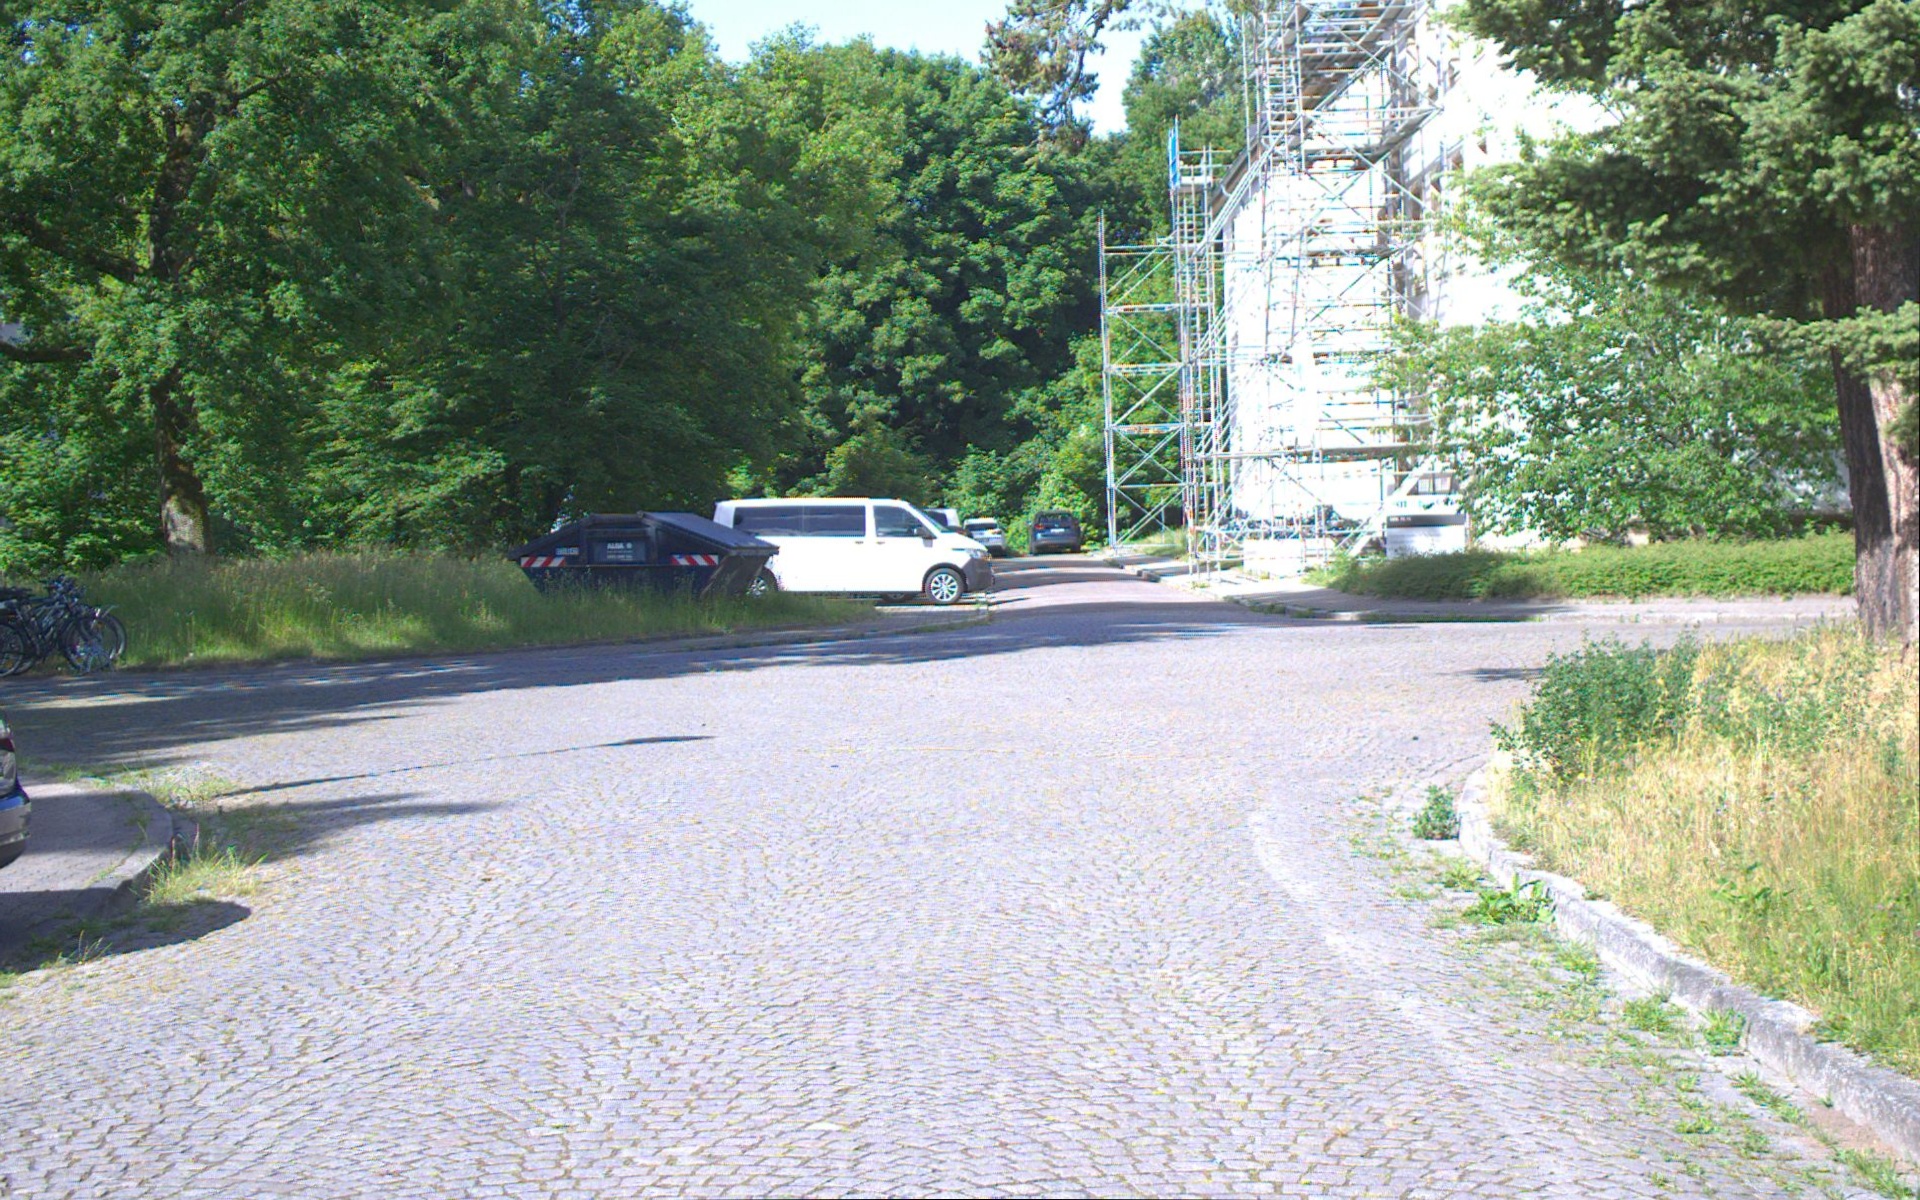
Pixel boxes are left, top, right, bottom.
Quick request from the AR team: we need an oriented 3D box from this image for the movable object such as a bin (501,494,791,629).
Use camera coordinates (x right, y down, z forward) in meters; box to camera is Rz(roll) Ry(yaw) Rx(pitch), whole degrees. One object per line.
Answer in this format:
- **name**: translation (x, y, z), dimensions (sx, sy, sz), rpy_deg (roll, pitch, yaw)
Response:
- **movable object such as a bin**: translation (-4.498, -0.563, 49.460), dimensions (3.569, 1.738, 2.023), rpy_deg (-2, 1, 19)

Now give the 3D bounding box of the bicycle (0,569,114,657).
- **bicycle**: translation (-12.352, 0.188, 45.947), dimensions (1.913, 1.054, 0.476), rpy_deg (-5, 2, -20)

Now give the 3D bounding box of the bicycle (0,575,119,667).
- **bicycle**: translation (-11.756, 0.279, 43.776), dimensions (1.913, 1.054, 0.476), rpy_deg (-5, 2, -22)

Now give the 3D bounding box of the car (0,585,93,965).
- **car**: translation (-5.920, 0.748, 13.709), dimensions (4.360, 1.440, 1.921), rpy_deg (-1, 2, 3)

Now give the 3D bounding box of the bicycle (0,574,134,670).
- **bicycle**: translation (-11.324, 0.274, 42.779), dimensions (1.913, 1.054, 0.476), rpy_deg (-5, 2, -28)

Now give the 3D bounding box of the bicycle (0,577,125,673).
- **bicycle**: translation (-11.310, 0.319, 42.224), dimensions (1.913, 1.054, 0.476), rpy_deg (-5, 2, -28)

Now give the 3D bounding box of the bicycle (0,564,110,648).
- **bicycle**: translation (-12.961, 0.098, 48.185), dimensions (1.913, 1.054, 0.476), rpy_deg (-5, 2, -20)

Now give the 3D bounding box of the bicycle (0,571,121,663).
- **bicycle**: translation (-11.866, 0.227, 44.340), dimensions (1.913, 1.054, 0.476), rpy_deg (-5, 2, -22)

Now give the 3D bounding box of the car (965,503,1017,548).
- **car**: translation (1.151, -2.782, 128.481), dimensions (1.812, 1.574, 4.135), rpy_deg (-3, 1, 0)

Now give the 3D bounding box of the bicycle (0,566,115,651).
- **bicycle**: translation (-12.779, 0.124, 47.717), dimensions (1.913, 1.054, 0.476), rpy_deg (-5, 2, -20)

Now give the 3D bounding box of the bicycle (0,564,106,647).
- **bicycle**: translation (-13.121, 0.092, 48.625), dimensions (1.913, 1.054, 0.476), rpy_deg (-5, 2, -20)

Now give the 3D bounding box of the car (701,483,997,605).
- **car**: translation (-1.985, -1.025, 62.520), dimensions (5.234, 2.009, 1.950), rpy_deg (-2, 1, 0)

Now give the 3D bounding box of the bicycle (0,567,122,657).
- **bicycle**: translation (-12.049, 0.169, 45.130), dimensions (1.913, 1.054, 0.476), rpy_deg (-5, 2, -22)

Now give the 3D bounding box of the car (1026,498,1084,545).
- **car**: translation (3.552, -2.948, 128.748), dimensions (1.971, 1.662, 4.086), rpy_deg (-3, 1, 0)
